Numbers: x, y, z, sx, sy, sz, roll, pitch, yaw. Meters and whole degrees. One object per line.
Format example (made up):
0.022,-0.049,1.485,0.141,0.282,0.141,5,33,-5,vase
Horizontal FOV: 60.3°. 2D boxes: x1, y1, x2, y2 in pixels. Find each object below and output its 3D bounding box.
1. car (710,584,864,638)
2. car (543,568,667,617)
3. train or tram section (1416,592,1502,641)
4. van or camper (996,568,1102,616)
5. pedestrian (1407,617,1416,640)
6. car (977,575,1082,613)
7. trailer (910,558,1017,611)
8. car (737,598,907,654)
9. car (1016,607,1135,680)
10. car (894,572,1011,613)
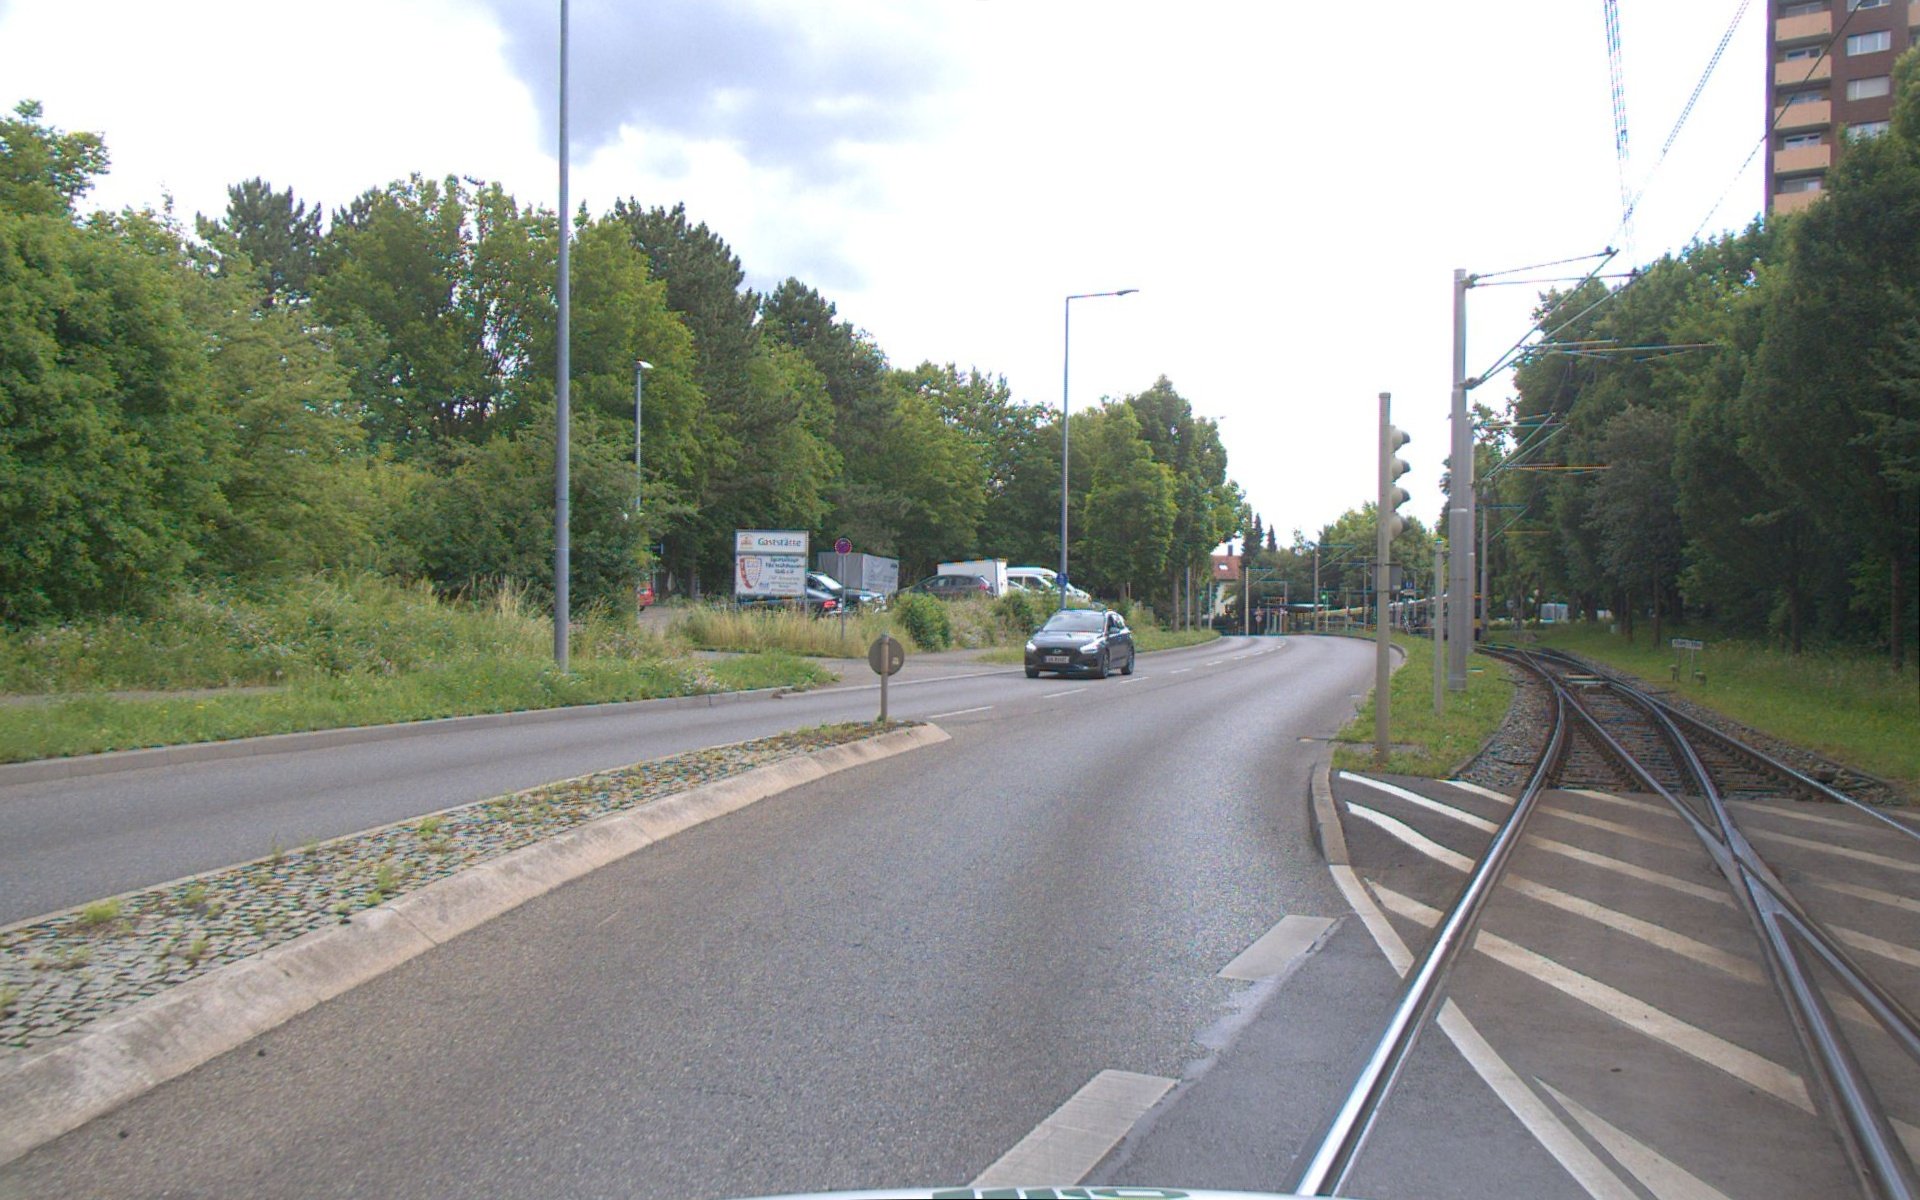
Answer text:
-4.846,0.289,46.556,3.870,1.422,2.002,1,0,12,car
-12.834,-0.268,59.858,3.902,1.691,2.002,1,0,9,car
39.668,1.222,132.960,2.943,3.368,34.739,1,0,11,train or tram section
4.346,-0.388,80.451,4.787,2.241,2.002,1,0,14,van or camper
30.166,1.911,110.504,0.555,1.490,0.596,1,-1,10,pedestrian
3.282,-0.292,78.105,4.547,1.685,2.000,1,0,21,car
0.157,-0.610,66.622,3.903,2.049,1.909,1,0,17,trailer
-4.265,0.781,51.534,4.821,1.613,2.209,1,0,13,car
2.625,0.900,36.604,1.951,1.463,4.429,1,0,13,car
-0.271,-0.284,63.581,4.219,1.474,1.837,-1,0,10,car
